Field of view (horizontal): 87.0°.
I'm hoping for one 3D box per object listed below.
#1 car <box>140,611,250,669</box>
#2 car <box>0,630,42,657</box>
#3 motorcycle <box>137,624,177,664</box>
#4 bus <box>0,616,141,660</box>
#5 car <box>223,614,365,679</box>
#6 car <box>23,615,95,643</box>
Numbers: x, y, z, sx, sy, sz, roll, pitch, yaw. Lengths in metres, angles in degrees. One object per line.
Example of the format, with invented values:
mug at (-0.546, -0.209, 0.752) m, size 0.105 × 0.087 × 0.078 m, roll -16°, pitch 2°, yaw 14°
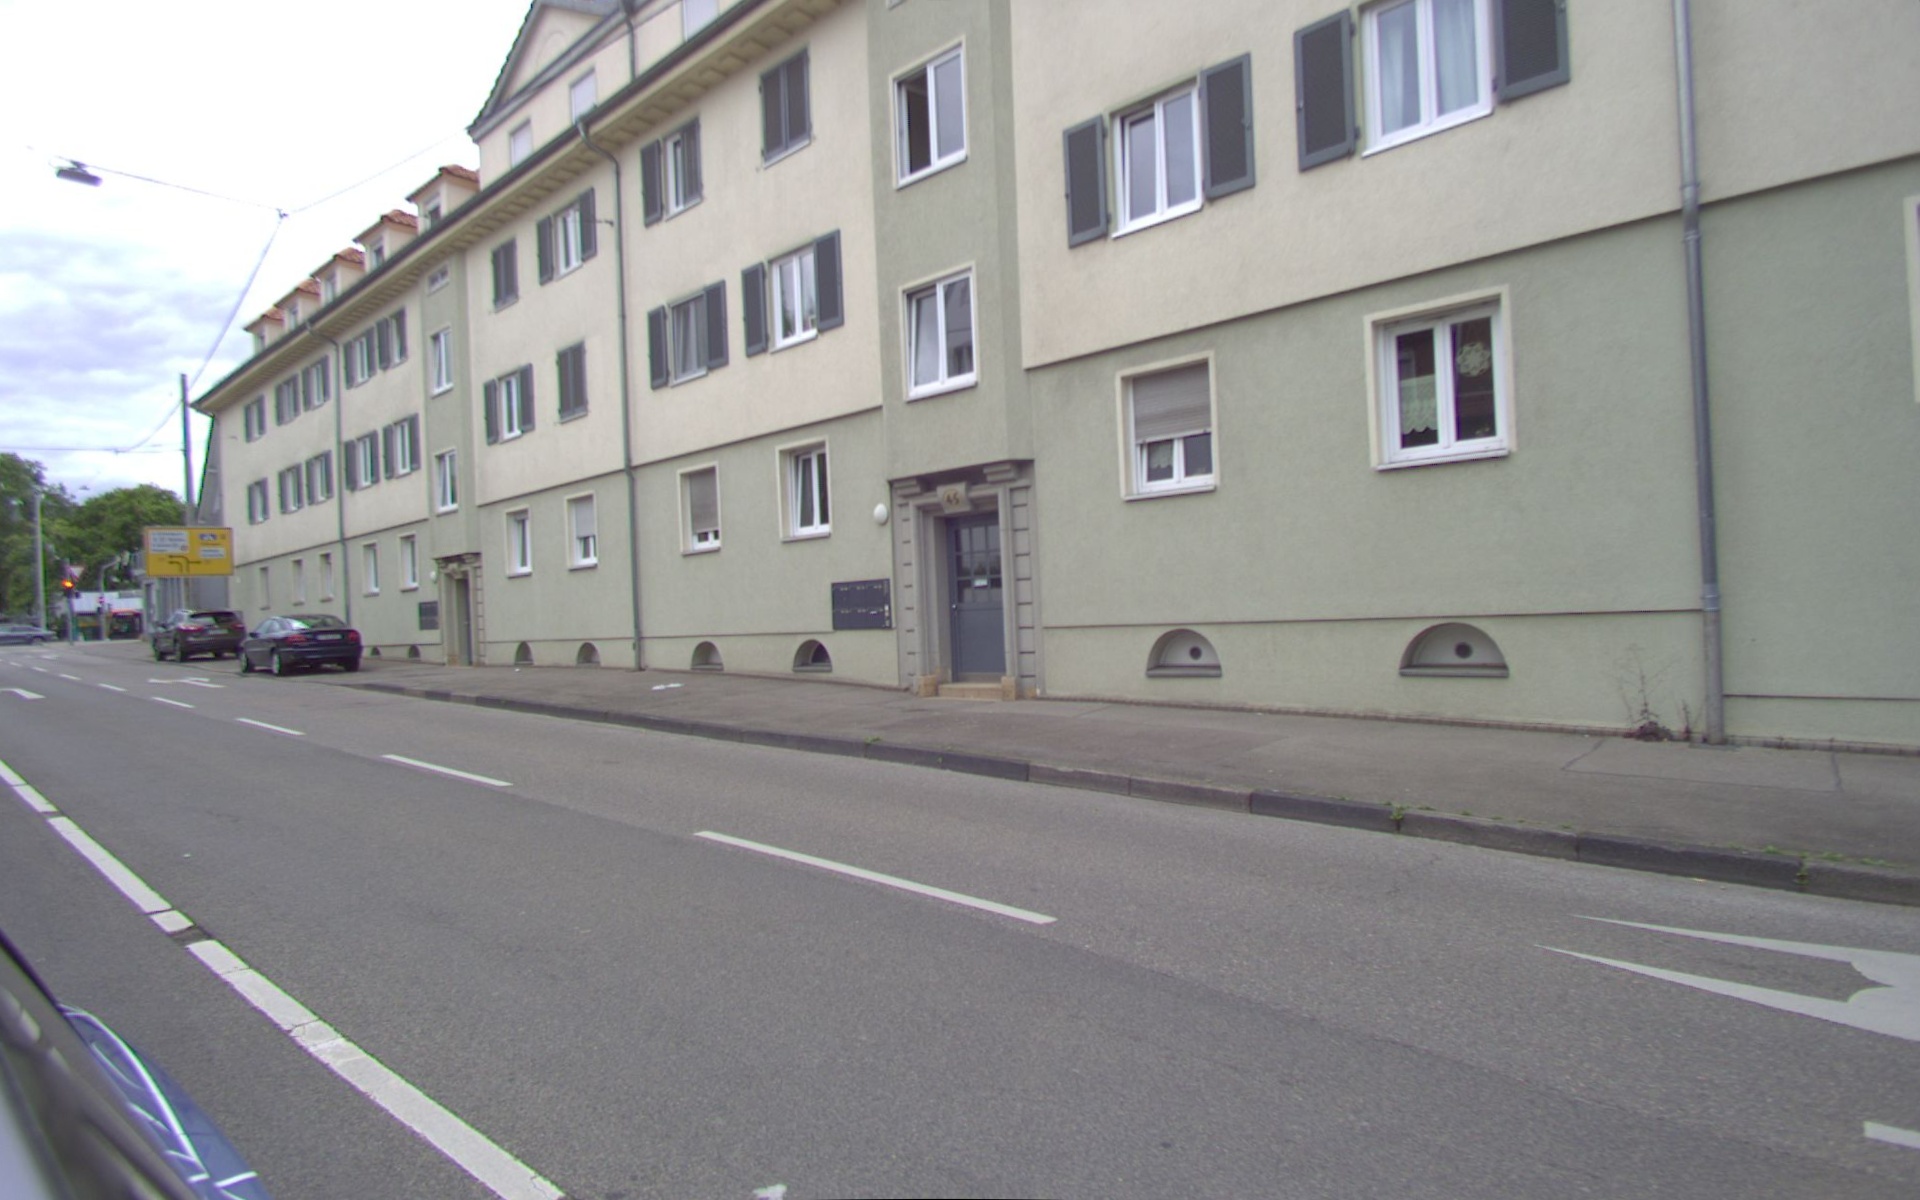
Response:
car at (-24.394, 1.241, 32.216) m, size 4.693 × 1.645 × 1.803 m, roll -2°, pitch 0°, yaw 40°
car at (-60.274, 2.734, 63.357) m, size 1.998 × 1.663 × 3.946 m, roll -2°, pitch -1°, yaw 40°
motorcycle at (-28.222, 1.533, 35.555) m, size 2.228 × 1.300 × 0.619 m, roll -2°, pitch 1°, yaw 40°
bus at (-69.558, 2.899, 76.545) m, size 2.001 × 3.086 × 11.684 m, roll -5°, pitch -3°, yaw 45°
car at (-16.462, 1.112, 24.919) m, size 4.843 × 1.413 × 1.692 m, roll -2°, pitch 0°, yaw 41°
car at (-72.273, 2.289, 81.214) m, size 1.996 × 2.206 × 3.950 m, roll -1°, pitch -2°, yaw 36°
